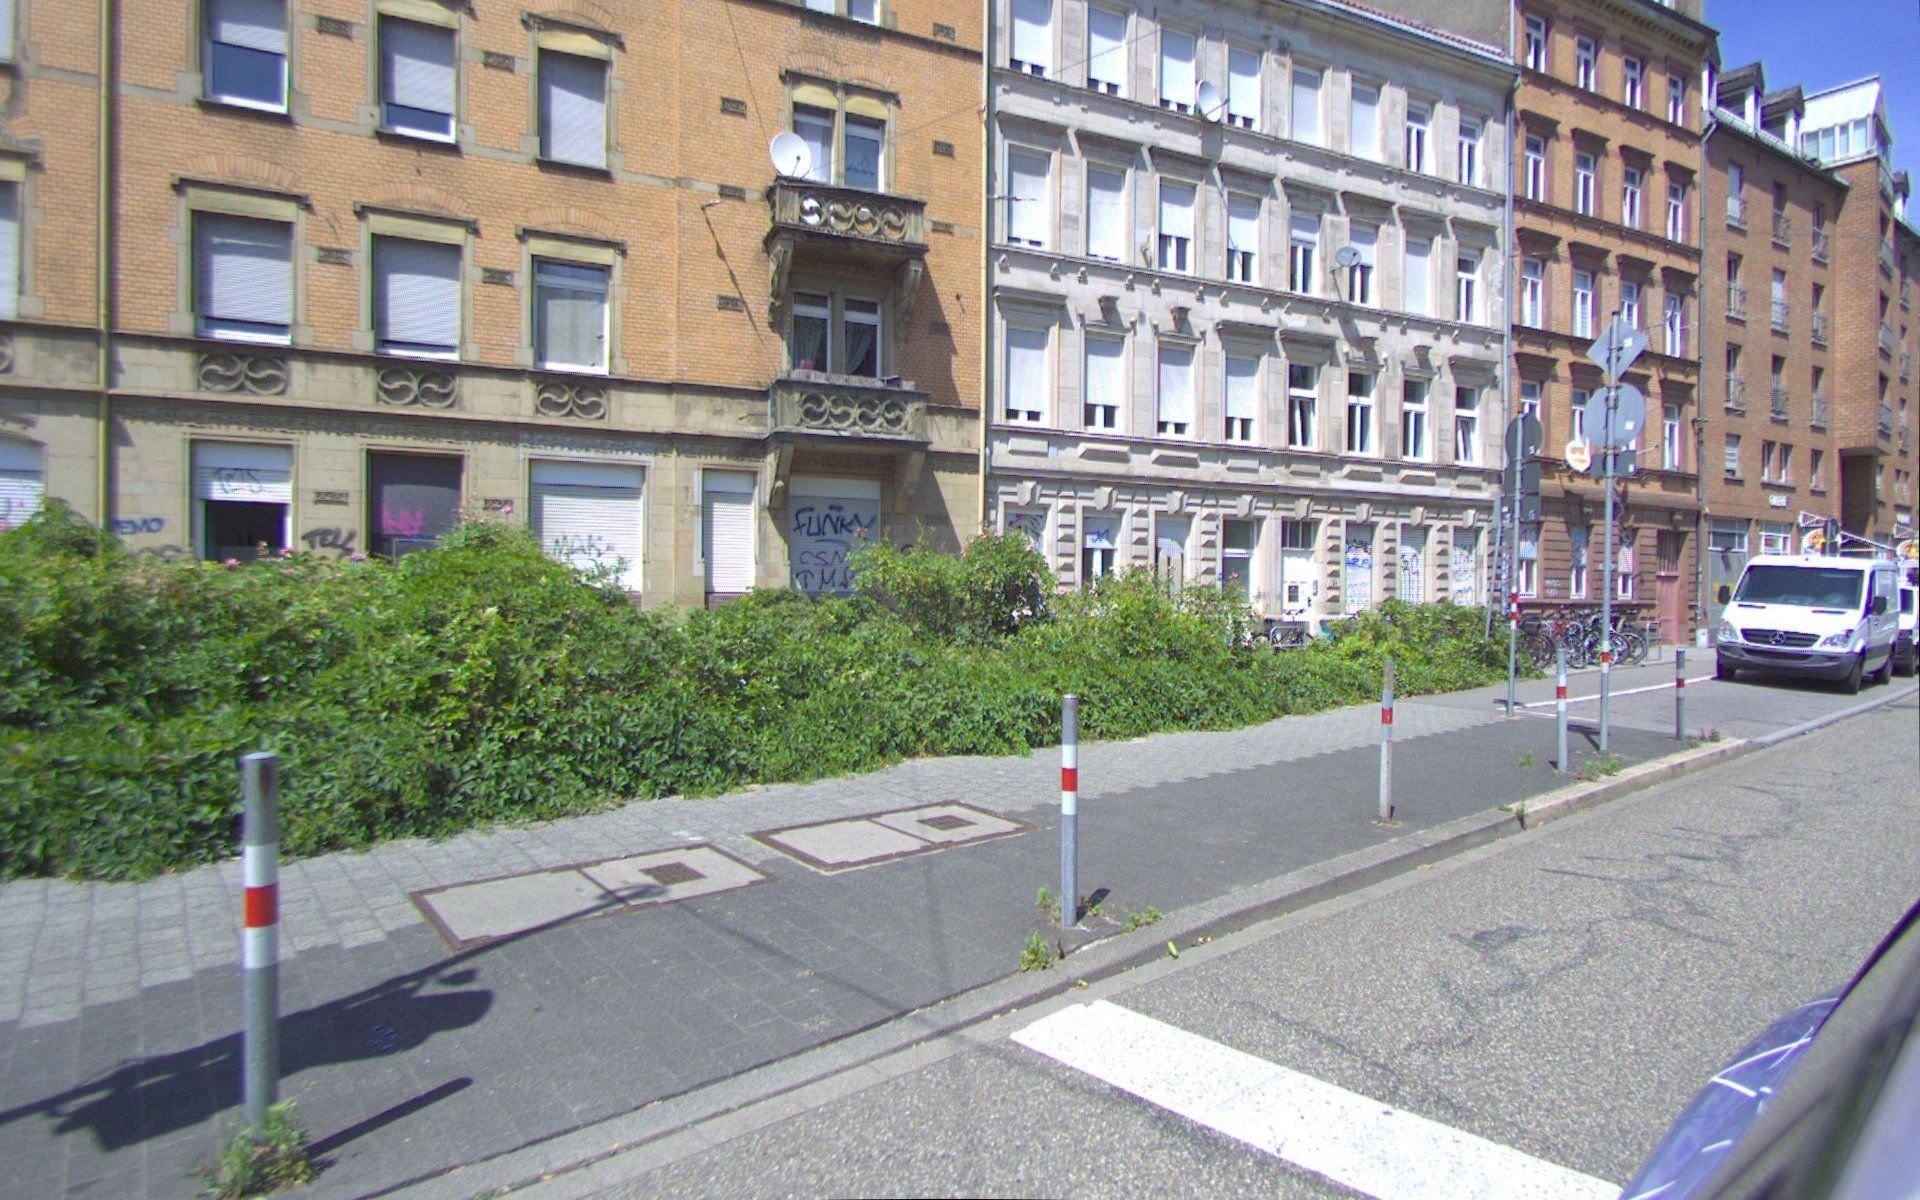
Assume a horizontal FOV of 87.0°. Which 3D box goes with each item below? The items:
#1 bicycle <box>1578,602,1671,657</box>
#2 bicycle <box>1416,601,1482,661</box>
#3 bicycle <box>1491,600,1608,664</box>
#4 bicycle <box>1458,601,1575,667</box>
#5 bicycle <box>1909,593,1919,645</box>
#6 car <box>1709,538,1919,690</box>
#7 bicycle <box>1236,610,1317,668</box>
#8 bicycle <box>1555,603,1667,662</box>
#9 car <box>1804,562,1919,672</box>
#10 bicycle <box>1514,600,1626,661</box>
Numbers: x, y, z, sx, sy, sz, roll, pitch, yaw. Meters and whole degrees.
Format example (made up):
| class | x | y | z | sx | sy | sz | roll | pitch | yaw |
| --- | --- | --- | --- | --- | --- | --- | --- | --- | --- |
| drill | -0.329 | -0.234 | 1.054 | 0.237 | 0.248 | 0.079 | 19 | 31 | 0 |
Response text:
| class | x | y | z | sx | sy | sz | roll | pitch | yaw |
| --- | --- | --- | --- | --- | --- | --- | --- | --- | --- |
| bicycle | 14.967 | 0.655 | 22.799 | 1.881 | 1.195 | 0.493 | -1 | -1 | -10 |
| bicycle | 10.287 | 0.639 | 21.265 | 1.887 | 1.195 | 0.492 | 0 | -1 | -40 |
| bicycle | 11.562 | 0.612 | 19.909 | 0.484 | 1.195 | 1.918 | 0 | -1 | -39 |
| bicycle | 10.659 | 0.640 | 19.439 | 0.484 | 1.195 | 1.918 | 0 | -1 | -39 |
| bicycle | 29.024 | 0.544 | 29.434 | 0.651 | 1.525 | 1.942 | 0 | -1 | -28 |
| car | 15.866 | 0.163 | 18.587 | 5.310 | 2.358 | 1.999 | 0 | 5 | -39 |
| bicycle | 6.036 | 0.720 | 19.245 | 1.735 | 1.035 | 0.457 | 0 | -1 | -33 |
| bicycle | 13.671 | 0.666 | 21.308 | 0.484 | 1.195 | 1.918 | 0 | -1 | -39 |
| car | 20.743 | 0.304 | 22.544 | 5.178 | 2.162 | 1.998 | 0 | 3 | -40 |
| bicycle | 12.510 | 0.618 | 20.815 | 0.484 | 1.195 | 1.918 | 0 | -1 | -39 |
